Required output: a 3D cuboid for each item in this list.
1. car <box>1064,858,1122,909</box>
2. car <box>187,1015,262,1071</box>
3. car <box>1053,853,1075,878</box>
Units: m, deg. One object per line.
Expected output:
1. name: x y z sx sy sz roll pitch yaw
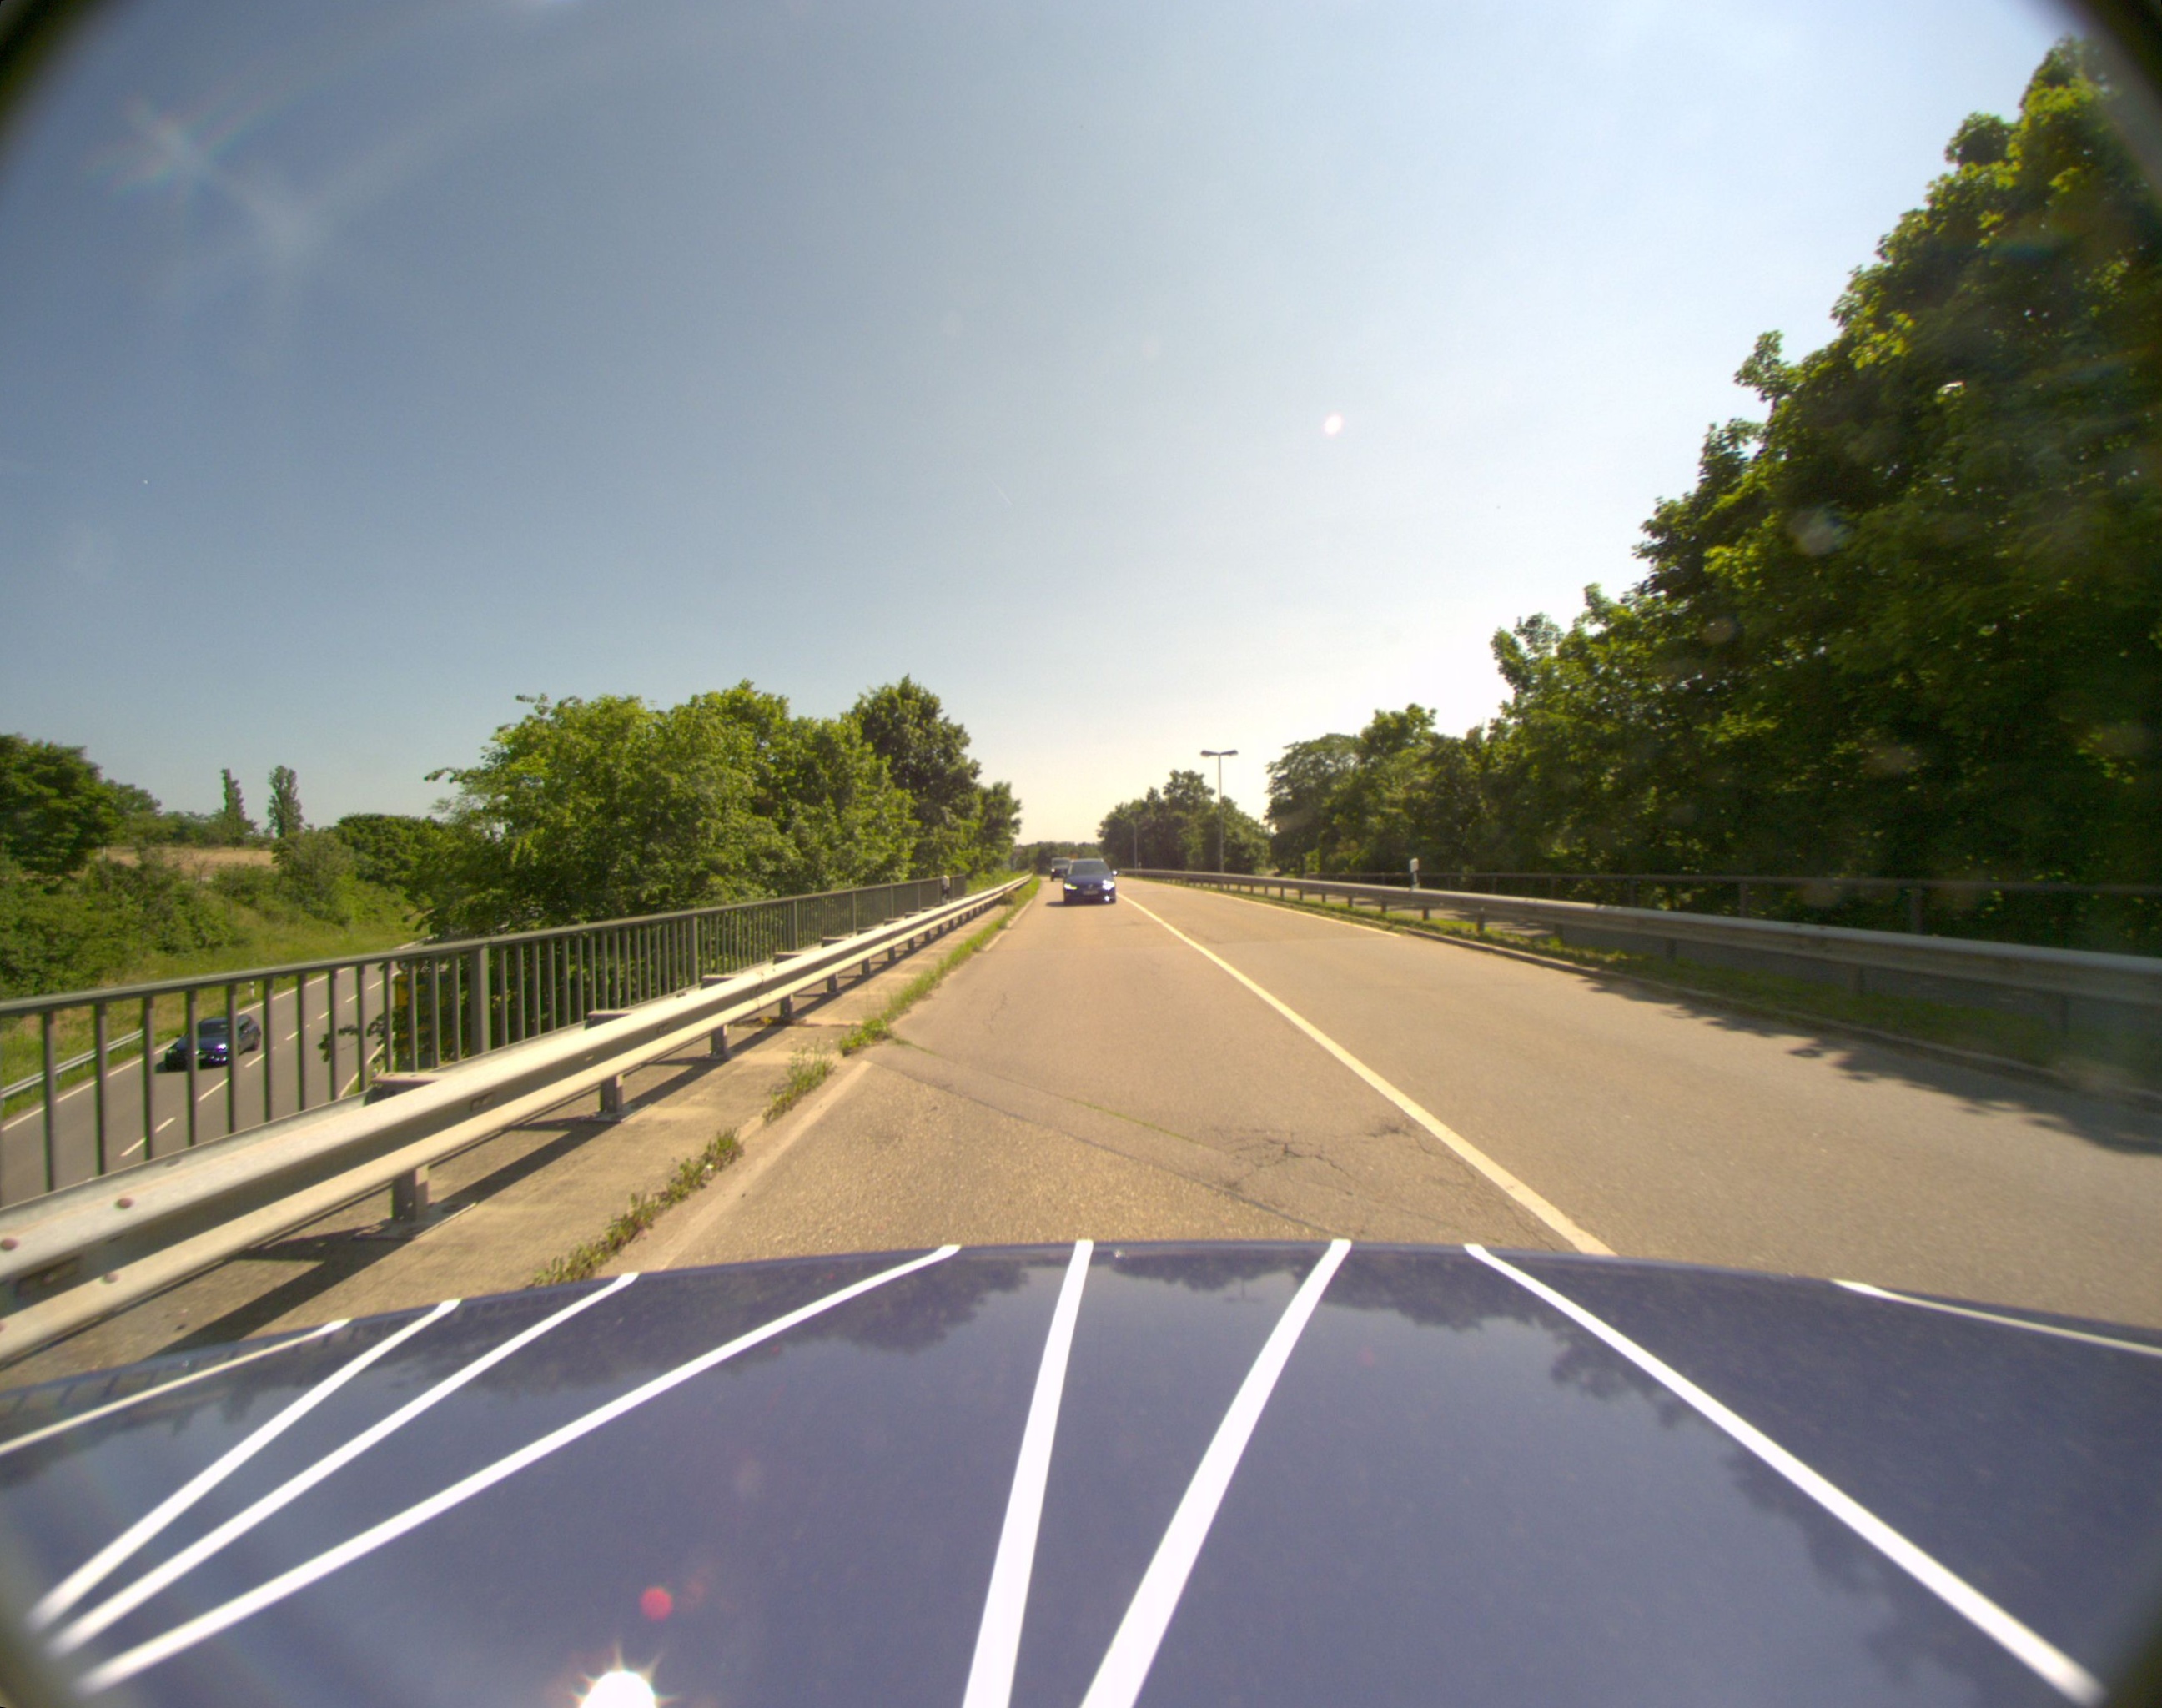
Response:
1. car: 0.358 0.961 26.660 1.828 1.591 4.195 -2 0 -1
2. car: -36.342 7.979 32.324 1.494 1.566 3.599 1 -2 -39
3. car: -1.453 1.025 64.626 1.779 2.006 4.001 0 -2 -2
